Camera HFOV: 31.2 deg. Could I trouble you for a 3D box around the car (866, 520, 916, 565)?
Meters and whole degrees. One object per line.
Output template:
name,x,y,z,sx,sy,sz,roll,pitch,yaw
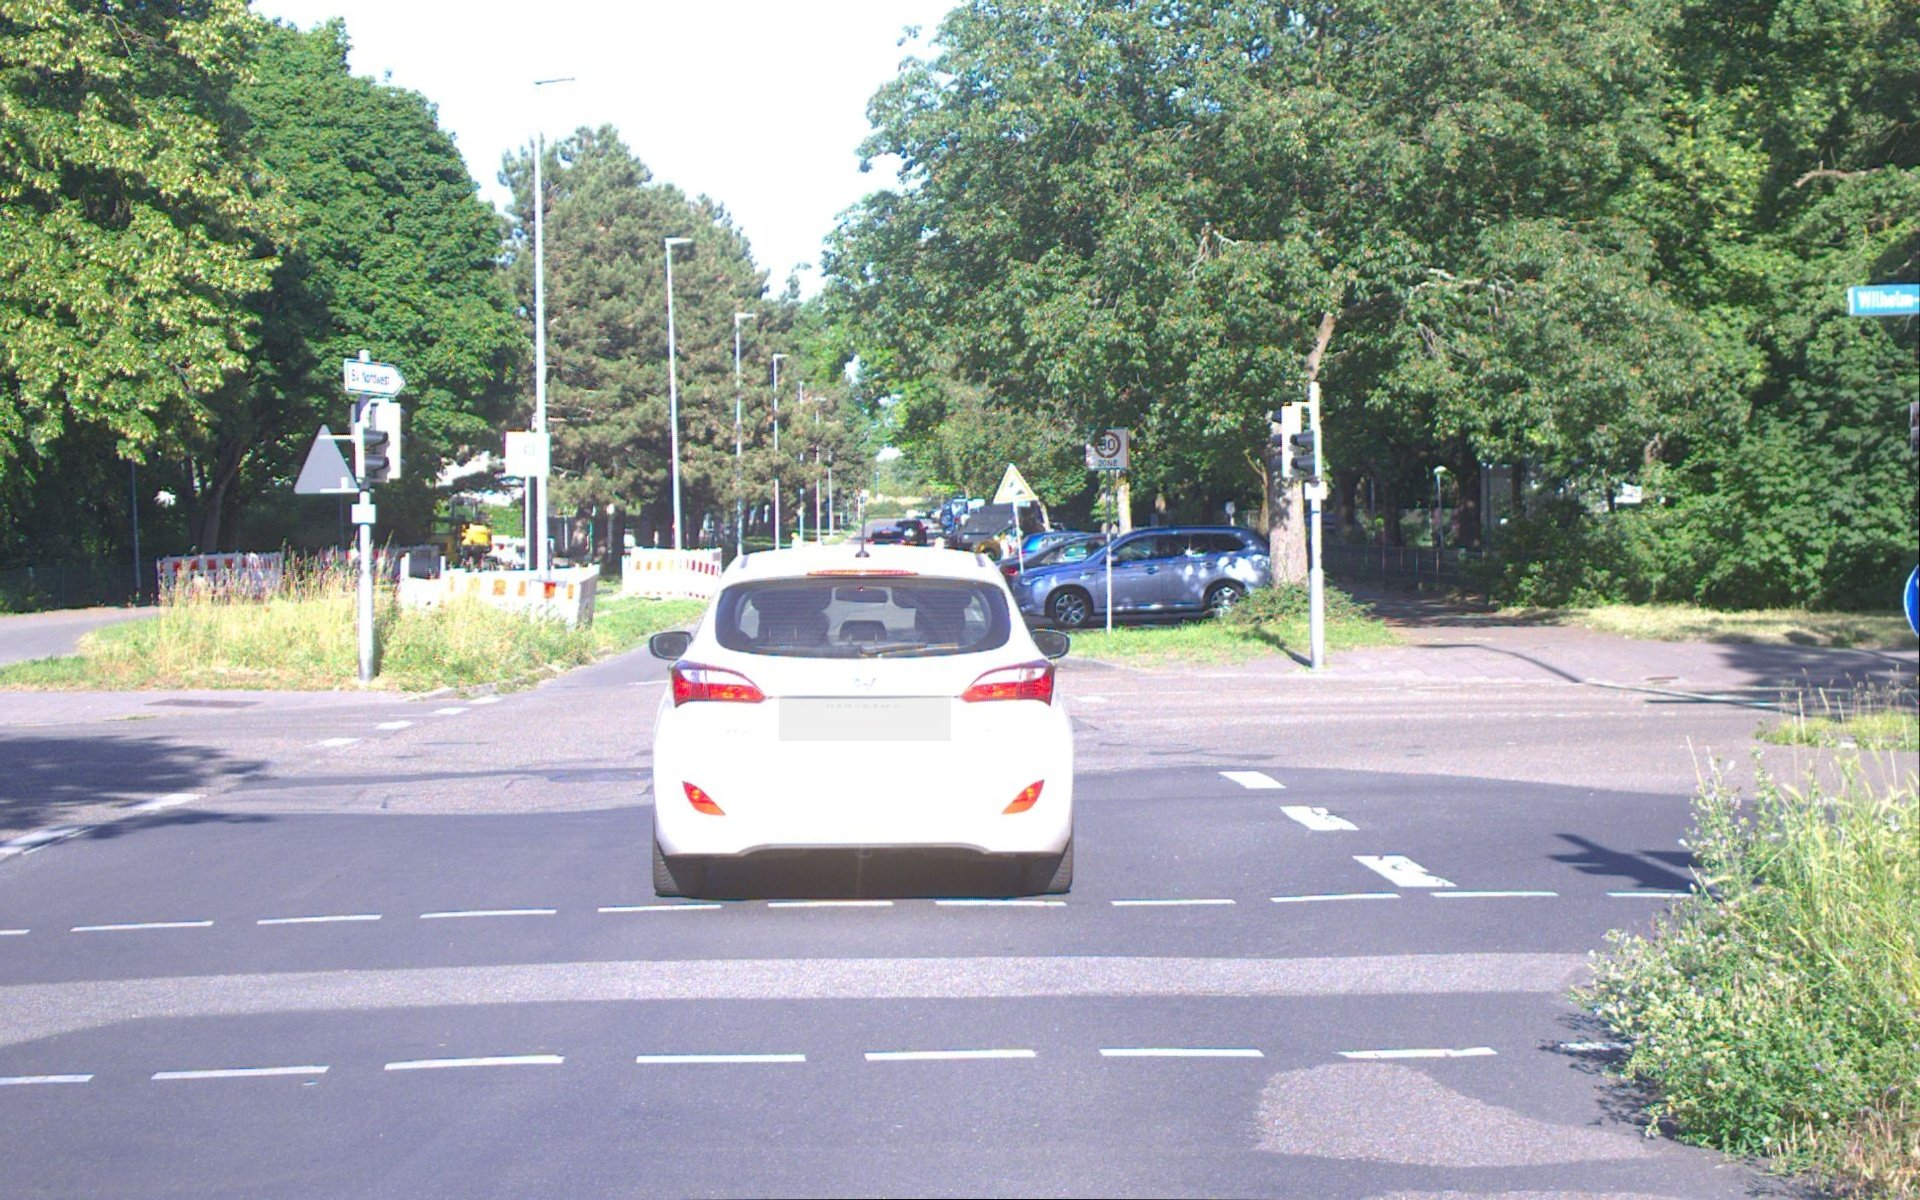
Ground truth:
car,-2.846,-2.403,143.036,1.993,1.809,4.000,1,1,0

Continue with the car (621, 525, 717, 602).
car,-7.013,-0.904,83.164,1.993,1.809,4.000,1,1,0

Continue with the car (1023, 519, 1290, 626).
car,3.364,-0.481,59.215,4.499,1.777,1.855,-1,1,2

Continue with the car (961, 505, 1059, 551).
car,1.961,-2.821,135.364,3.819,1.761,1.863,1,1,0

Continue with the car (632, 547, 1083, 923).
car,-0.476,0.506,15.668,1.789,1.458,3.964,0,1,-2

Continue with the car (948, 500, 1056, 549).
car,1.693,-3.037,138.510,4.301,1.901,1.863,1,1,0

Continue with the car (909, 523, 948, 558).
car,-1.654,-3.139,181.690,1.993,1.809,4.000,1,1,0

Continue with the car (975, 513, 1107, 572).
car,2.373,-1.694,101.167,3.819,1.678,1.863,1,1,0

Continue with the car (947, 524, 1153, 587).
car,2.460,-1.235,94.810,5.613,1.678,1.948,1,1,0

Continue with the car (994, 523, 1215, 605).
car,2.987,-0.761,71.315,4.499,1.624,1.855,-1,1,2

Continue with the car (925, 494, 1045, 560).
car,0.790,-2.364,111.191,3.819,2.091,1.863,1,1,0

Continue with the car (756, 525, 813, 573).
car,-6.691,-1.958,131.430,1.993,1.809,4.000,-1,1,0
